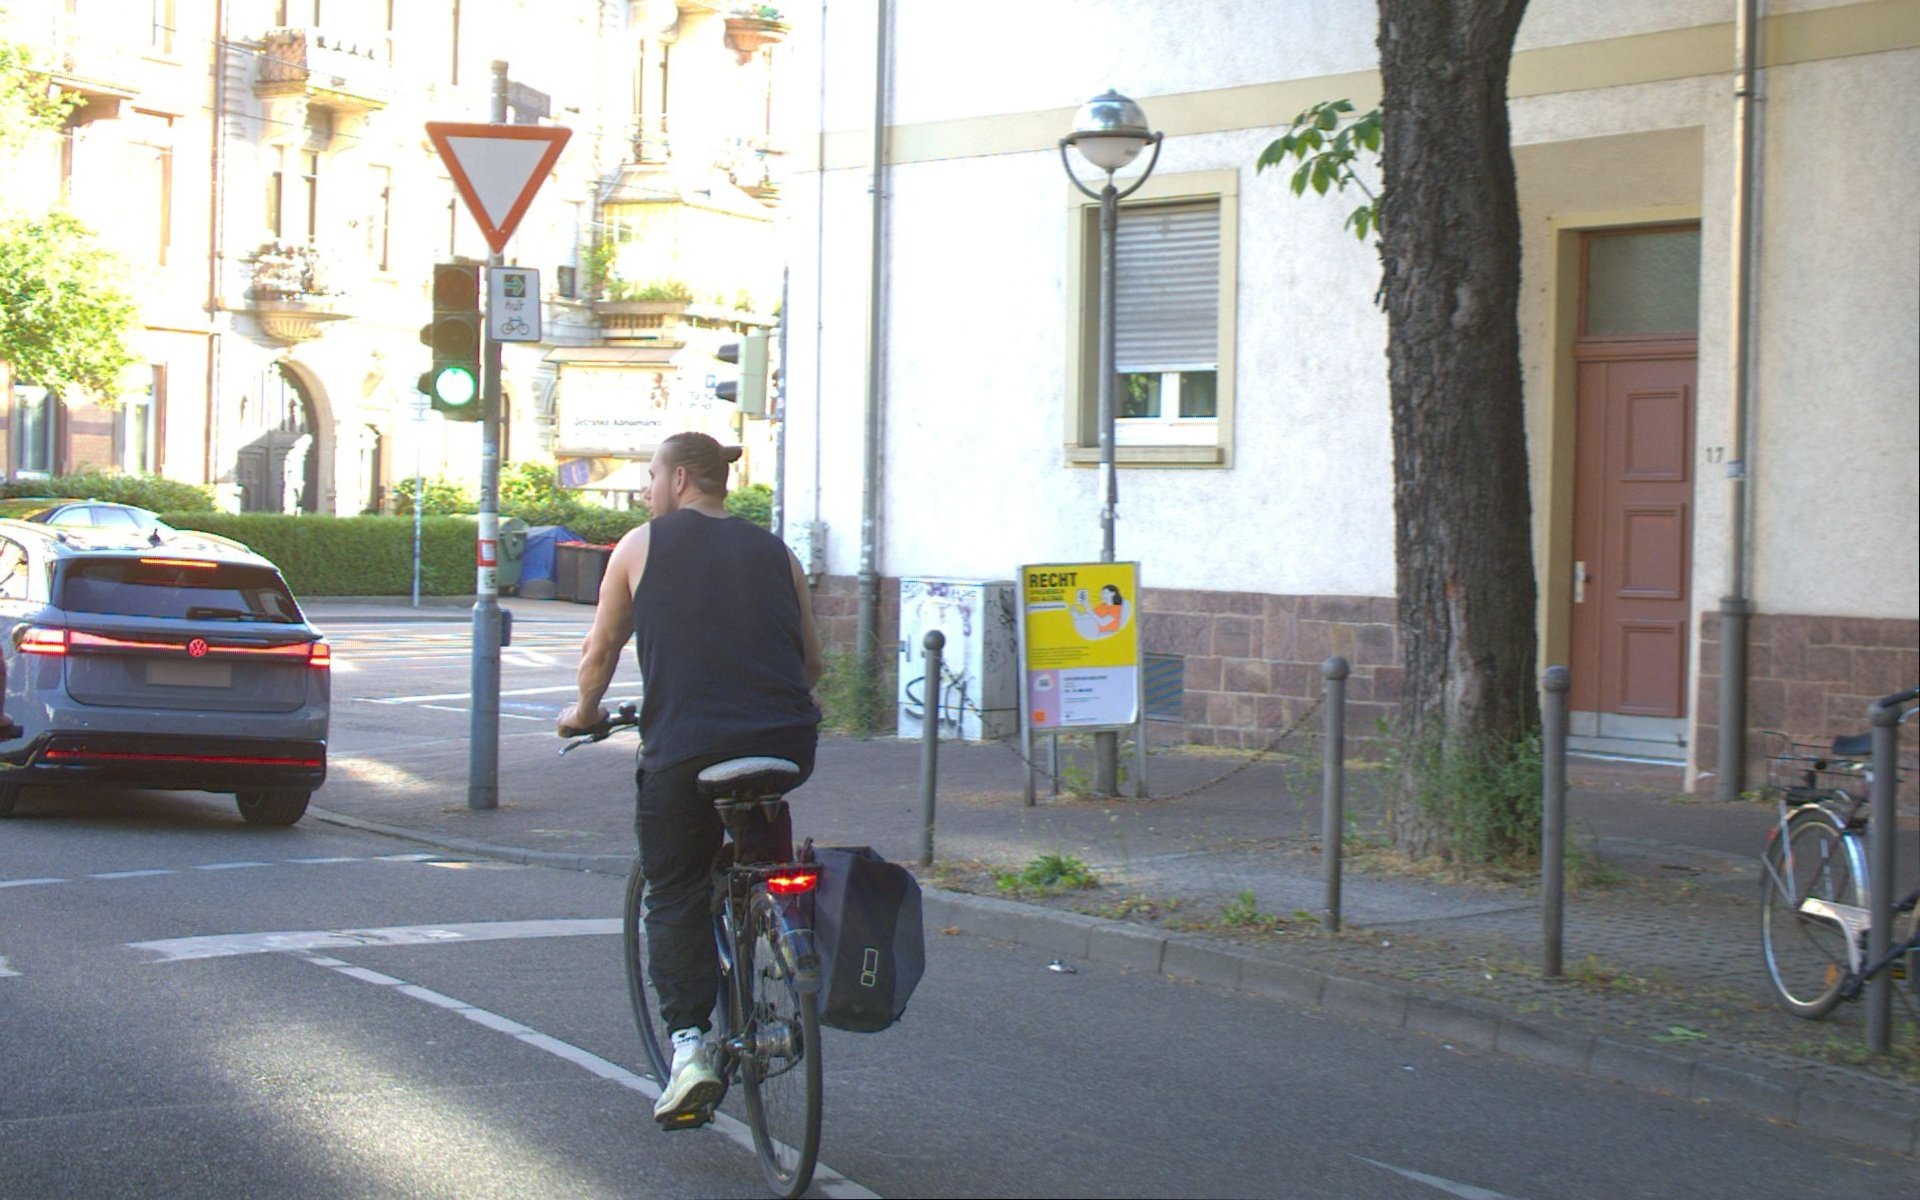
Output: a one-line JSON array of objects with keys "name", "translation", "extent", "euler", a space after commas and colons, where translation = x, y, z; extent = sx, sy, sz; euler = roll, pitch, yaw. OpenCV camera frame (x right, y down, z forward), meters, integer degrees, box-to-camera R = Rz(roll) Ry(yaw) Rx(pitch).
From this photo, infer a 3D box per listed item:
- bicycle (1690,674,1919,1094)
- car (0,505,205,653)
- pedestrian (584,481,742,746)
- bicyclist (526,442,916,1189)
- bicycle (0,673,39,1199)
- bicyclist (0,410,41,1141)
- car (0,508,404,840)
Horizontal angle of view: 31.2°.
[{"name": "bicycle", "translation": [2.734, 0.804, 10.149], "extent": [0.480, 1.060, 1.636], "euler": [-1, 2, -13]}, {"name": "car", "translation": [-10.966, -0.274, 39.914], "extent": [1.945, 1.644, 4.404], "euler": [2, 1, 26]}, {"name": "pedestrian", "translation": [-1.981, 0.073, 22.922], "extent": [0.643, 1.721, 0.888], "euler": [-2, 3, -38]}, {"name": "bicyclist", "translation": [-0.589, 0.466, 8.162], "extent": [0.686, 1.650, 0.990], "euler": [0, 1, -19]}, {"name": "bicycle", "translation": [-2.486, 0.757, 7.800], "extent": [0.717, 1.103, 1.967], "euler": [2, 1, -15]}, {"name": "bicyclist", "translation": [-2.460, 0.357, 7.750], "extent": [0.706, 1.568, 0.957], "euler": [2, 1, -15]}, {"name": "car", "translation": [-4.892, 0.315, 19.085], "extent": [1.970, 1.580, 4.475], "euler": [3, 0, -31]}]
